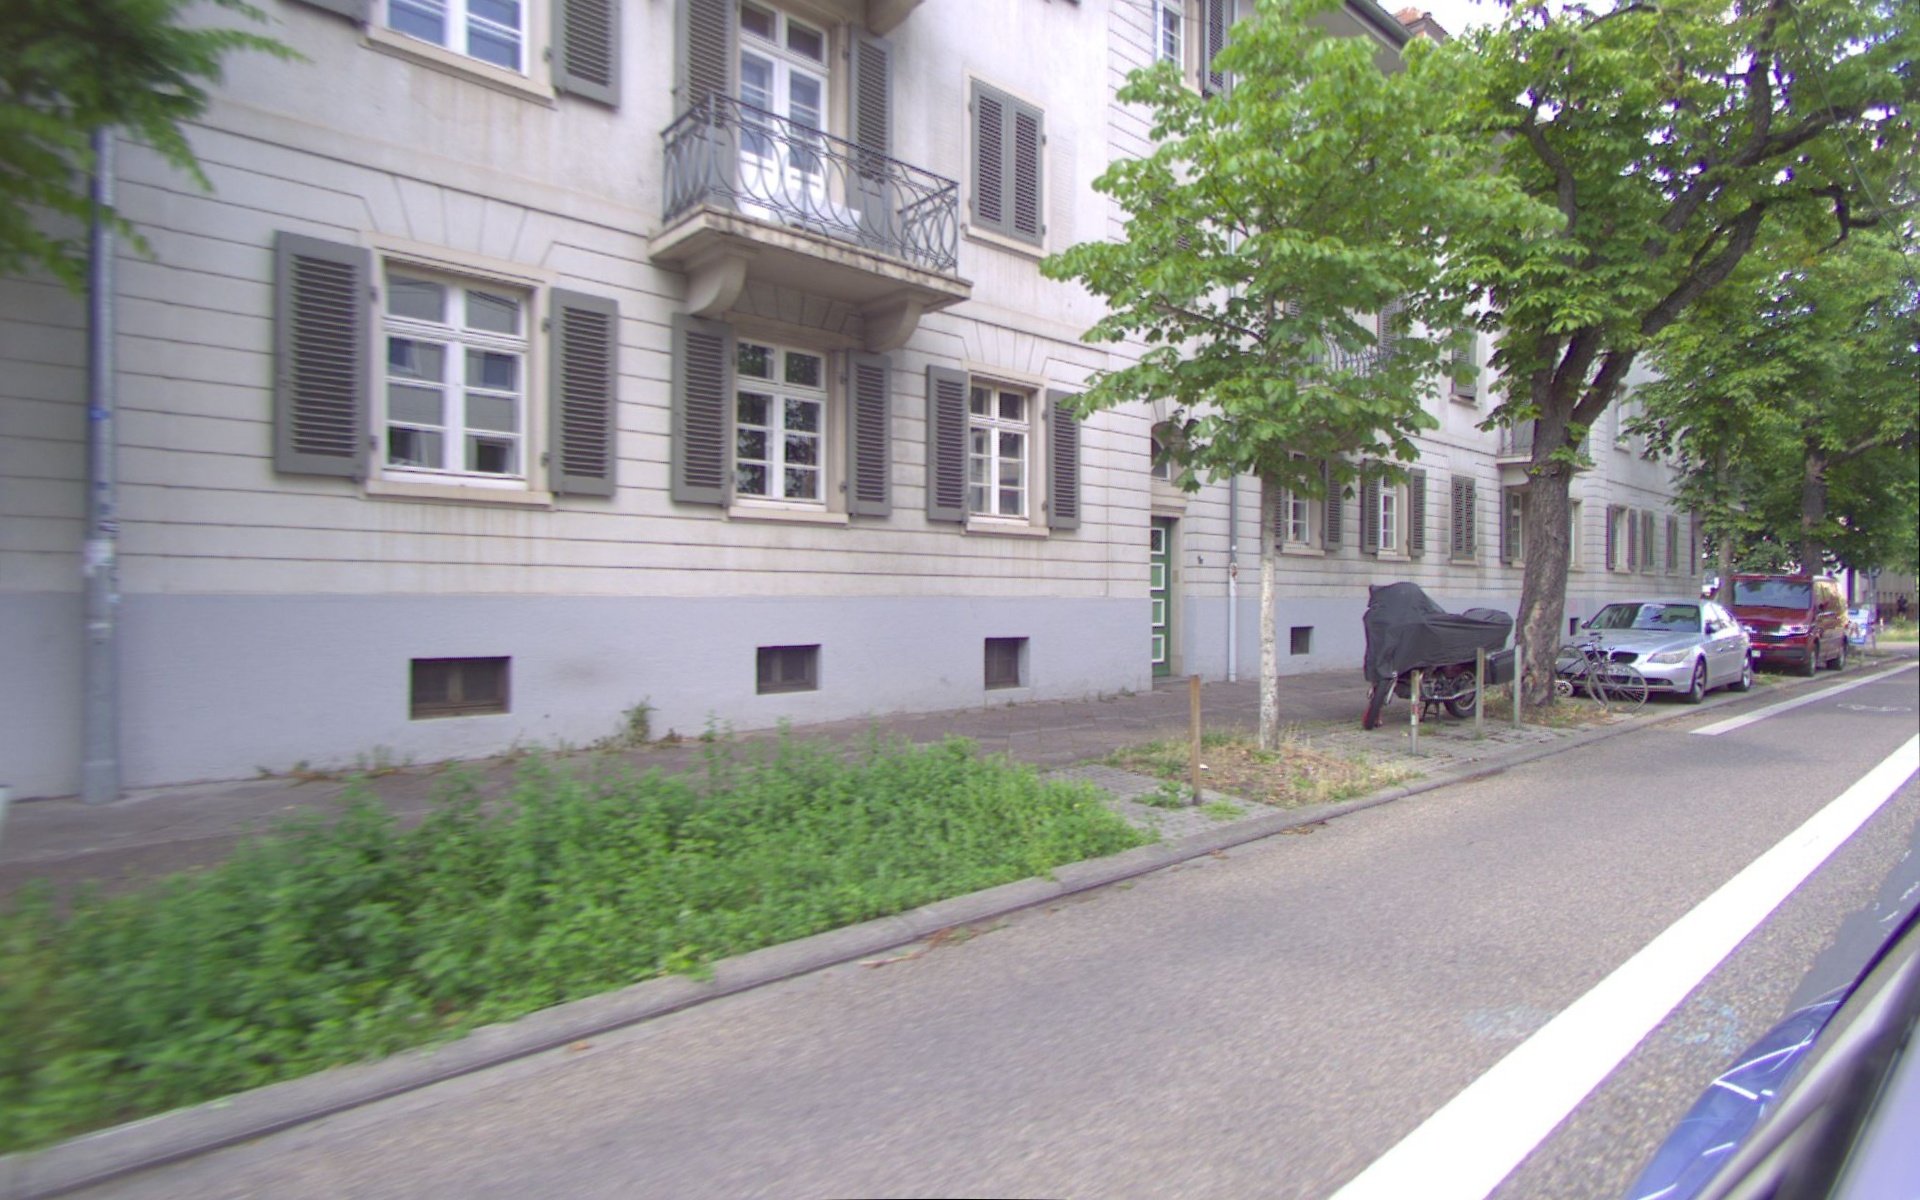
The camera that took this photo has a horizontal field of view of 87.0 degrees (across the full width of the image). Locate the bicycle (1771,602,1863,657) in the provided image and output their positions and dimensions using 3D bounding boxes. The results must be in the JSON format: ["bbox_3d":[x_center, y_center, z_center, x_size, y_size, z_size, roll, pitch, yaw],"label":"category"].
[{"bbox_3d":[20.041,0.673,23.684,0.580,1.218,1.611,0,0,-43],"label":"bicycle"}]

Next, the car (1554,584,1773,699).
[{"bbox_3d":[10.907,0.525,15.552,4.706,1.517,1.709,0,1,-42],"label":"car"}]

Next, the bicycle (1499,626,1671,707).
[{"bbox_3d":[8.099,0.831,13.186,0.679,0.914,1.781,0,1,-38],"label":"bicycle"}]

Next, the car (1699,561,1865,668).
[{"bbox_3d":[17.028,0.238,20.865,4.865,1.965,1.898,0,1,-42],"label":"car"}]

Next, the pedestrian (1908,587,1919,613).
[{"bbox_3d":[59.673,-0.007,63.194,0.959,1.660,0.581,0,0,-41],"label":"pedestrian"}]

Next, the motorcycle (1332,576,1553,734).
[{"bbox_3d":[5.279,0.533,11.031,2.391,1.561,0.984,0,0,-30],"label":"motorcycle"}]

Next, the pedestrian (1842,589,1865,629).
[{"bbox_3d":[41.849,0.403,47.398,1.012,1.857,0.619,0,0,-39],"label":"pedestrian"}]
